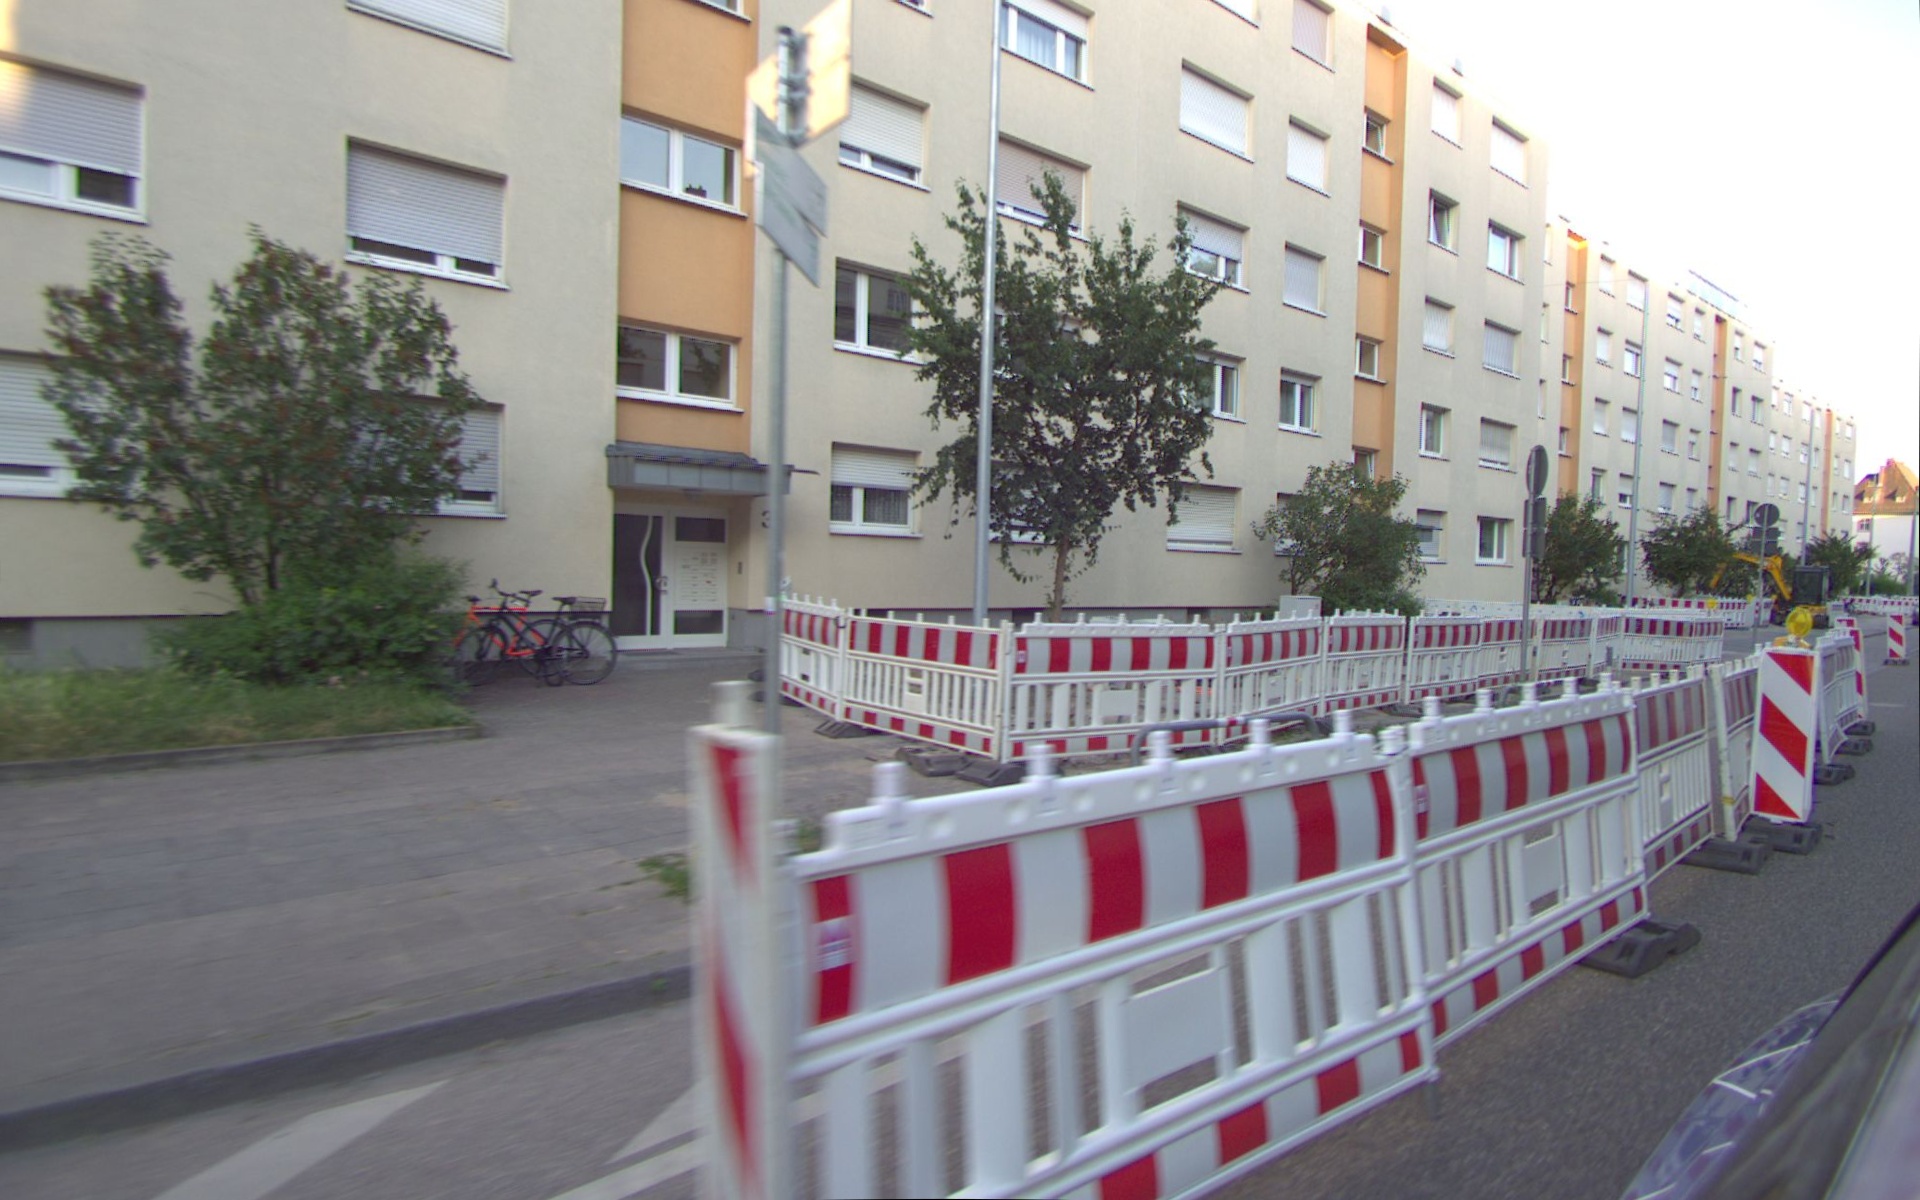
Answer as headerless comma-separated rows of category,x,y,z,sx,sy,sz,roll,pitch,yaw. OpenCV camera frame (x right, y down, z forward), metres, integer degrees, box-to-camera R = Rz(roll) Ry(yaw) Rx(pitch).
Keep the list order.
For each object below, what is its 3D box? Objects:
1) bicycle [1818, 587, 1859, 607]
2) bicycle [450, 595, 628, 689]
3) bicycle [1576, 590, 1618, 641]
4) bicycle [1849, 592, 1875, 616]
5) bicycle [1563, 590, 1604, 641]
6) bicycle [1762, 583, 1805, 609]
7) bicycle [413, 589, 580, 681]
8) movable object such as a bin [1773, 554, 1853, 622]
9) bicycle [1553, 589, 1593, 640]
bicycle,53.901,-0.181,62.106,0.547,0.998,1.762,0,7,-32
bicycle,-4.614,0.449,11.201,1.776,0.980,0.547,1,1,-18
bicycle,15.894,0.364,25.232,1.880,1.237,0.452,0,2,-44
bicycle,46.118,0.191,51.766,0.553,1.186,1.799,1,1,28
bicycle,15.647,0.362,25.379,1.880,1.237,0.398,0,2,-44
bicycle,40.521,-0.195,49.797,1.592,1.237,0.478,2,2,43
bicycle,-5.337,0.379,11.705,1.666,0.980,0.545,0,2,-38
movable object such as a bin,35.773,-0.521,42.434,2.838,2.726,1.939,0,2,-37
bicycle,15.531,0.357,25.614,1.796,1.237,0.398,0,2,-44
